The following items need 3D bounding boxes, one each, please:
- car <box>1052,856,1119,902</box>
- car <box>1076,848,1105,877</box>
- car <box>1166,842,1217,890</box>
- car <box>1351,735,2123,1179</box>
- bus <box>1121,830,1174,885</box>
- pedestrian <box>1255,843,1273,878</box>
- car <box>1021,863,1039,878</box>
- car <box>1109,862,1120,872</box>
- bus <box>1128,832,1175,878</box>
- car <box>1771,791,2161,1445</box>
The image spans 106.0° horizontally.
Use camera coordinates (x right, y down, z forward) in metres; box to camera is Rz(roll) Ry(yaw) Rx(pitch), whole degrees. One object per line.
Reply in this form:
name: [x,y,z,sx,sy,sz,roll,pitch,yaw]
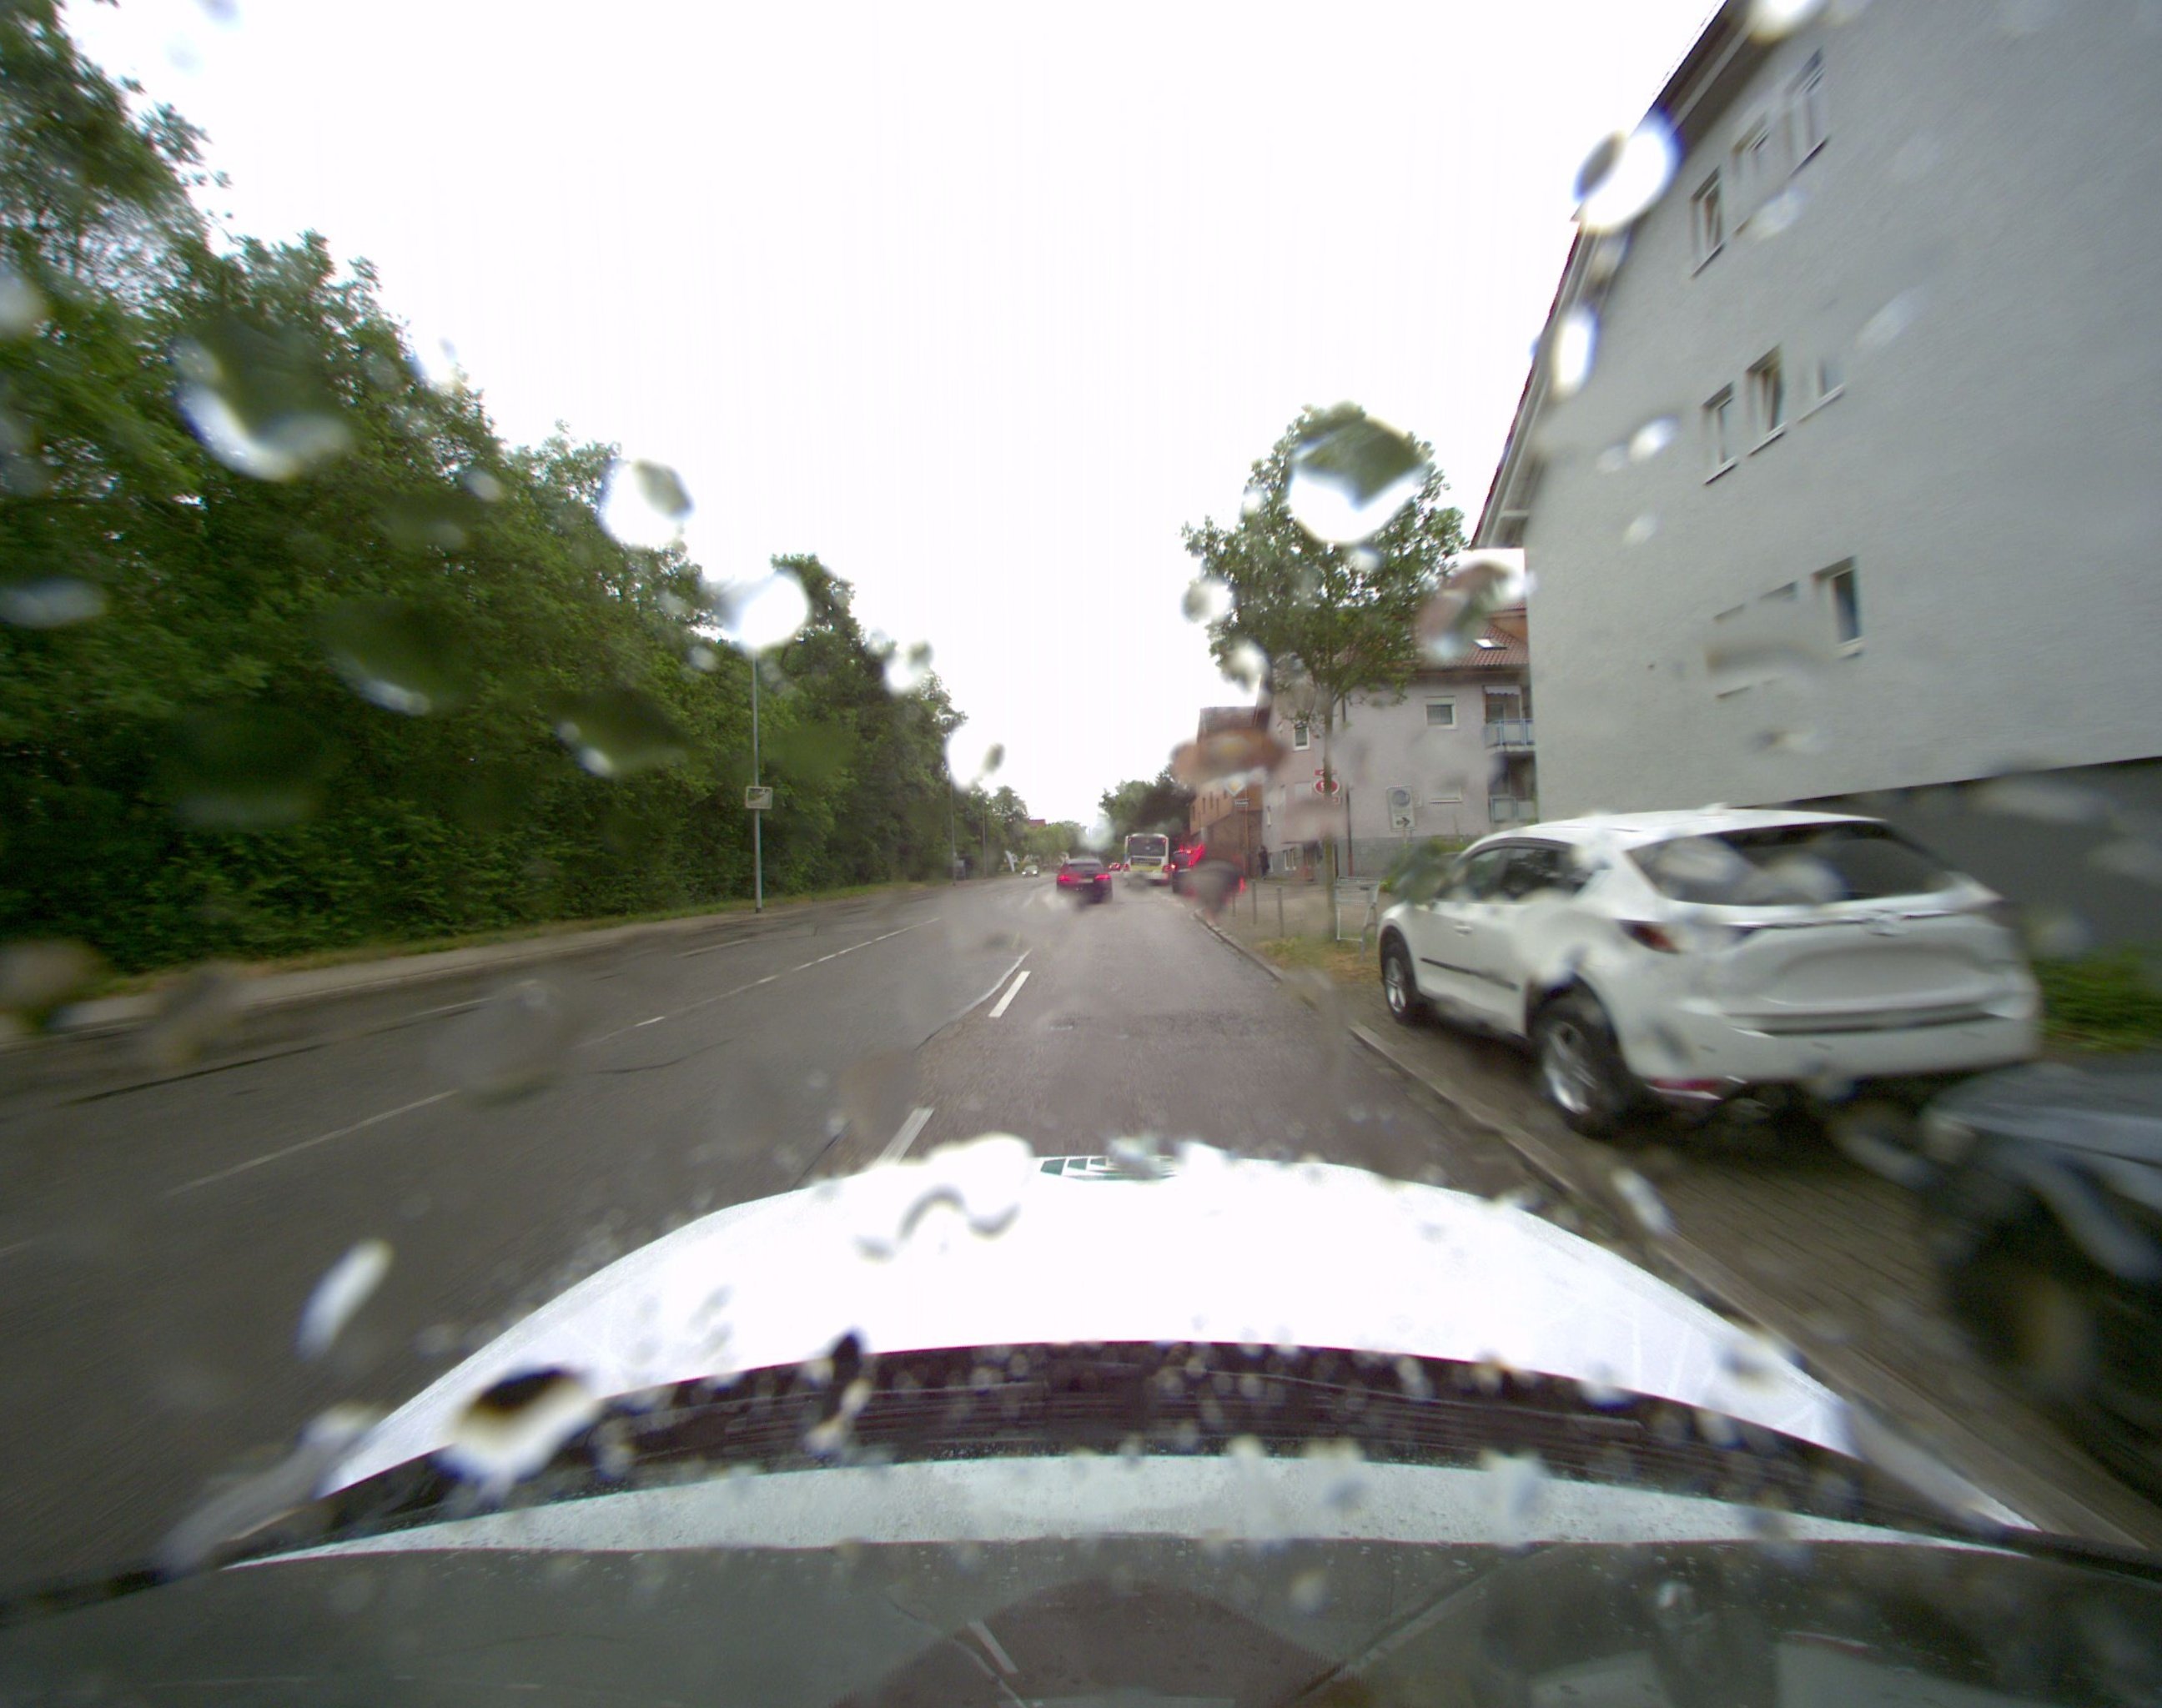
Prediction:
car: [0.066,0.823,28.699,1.990,1.453,3.993,1,0,-5]
car: [0.714,0.577,59.305,1.986,2.013,4.002,-2,0,2]
car: [5.118,0.548,37.137,1.915,1.892,4.775,-6,-2,10]
car: [3.480,0.425,5.673,1.817,1.772,4.544,-3,0,3]
bus: [4.117,0.157,48.796,2.609,2.847,8.306,-3,0,7]
pedestrian: [9.408,0.338,41.803,0.688,1.754,0.669,-4,0,1]
car: [-6.060,1.927,97.166,1.764,1.533,4.001,-3,0,1]
car: [5.742,2.174,139.918,1.859,1.519,4.000,-2,1,0]
bus: [4.818,0.026,57.569,2.613,2.847,9.797,-3,0,2]
car: [3.176,0.550,0.773,1.636,1.448,3.998,-2,0,0]
